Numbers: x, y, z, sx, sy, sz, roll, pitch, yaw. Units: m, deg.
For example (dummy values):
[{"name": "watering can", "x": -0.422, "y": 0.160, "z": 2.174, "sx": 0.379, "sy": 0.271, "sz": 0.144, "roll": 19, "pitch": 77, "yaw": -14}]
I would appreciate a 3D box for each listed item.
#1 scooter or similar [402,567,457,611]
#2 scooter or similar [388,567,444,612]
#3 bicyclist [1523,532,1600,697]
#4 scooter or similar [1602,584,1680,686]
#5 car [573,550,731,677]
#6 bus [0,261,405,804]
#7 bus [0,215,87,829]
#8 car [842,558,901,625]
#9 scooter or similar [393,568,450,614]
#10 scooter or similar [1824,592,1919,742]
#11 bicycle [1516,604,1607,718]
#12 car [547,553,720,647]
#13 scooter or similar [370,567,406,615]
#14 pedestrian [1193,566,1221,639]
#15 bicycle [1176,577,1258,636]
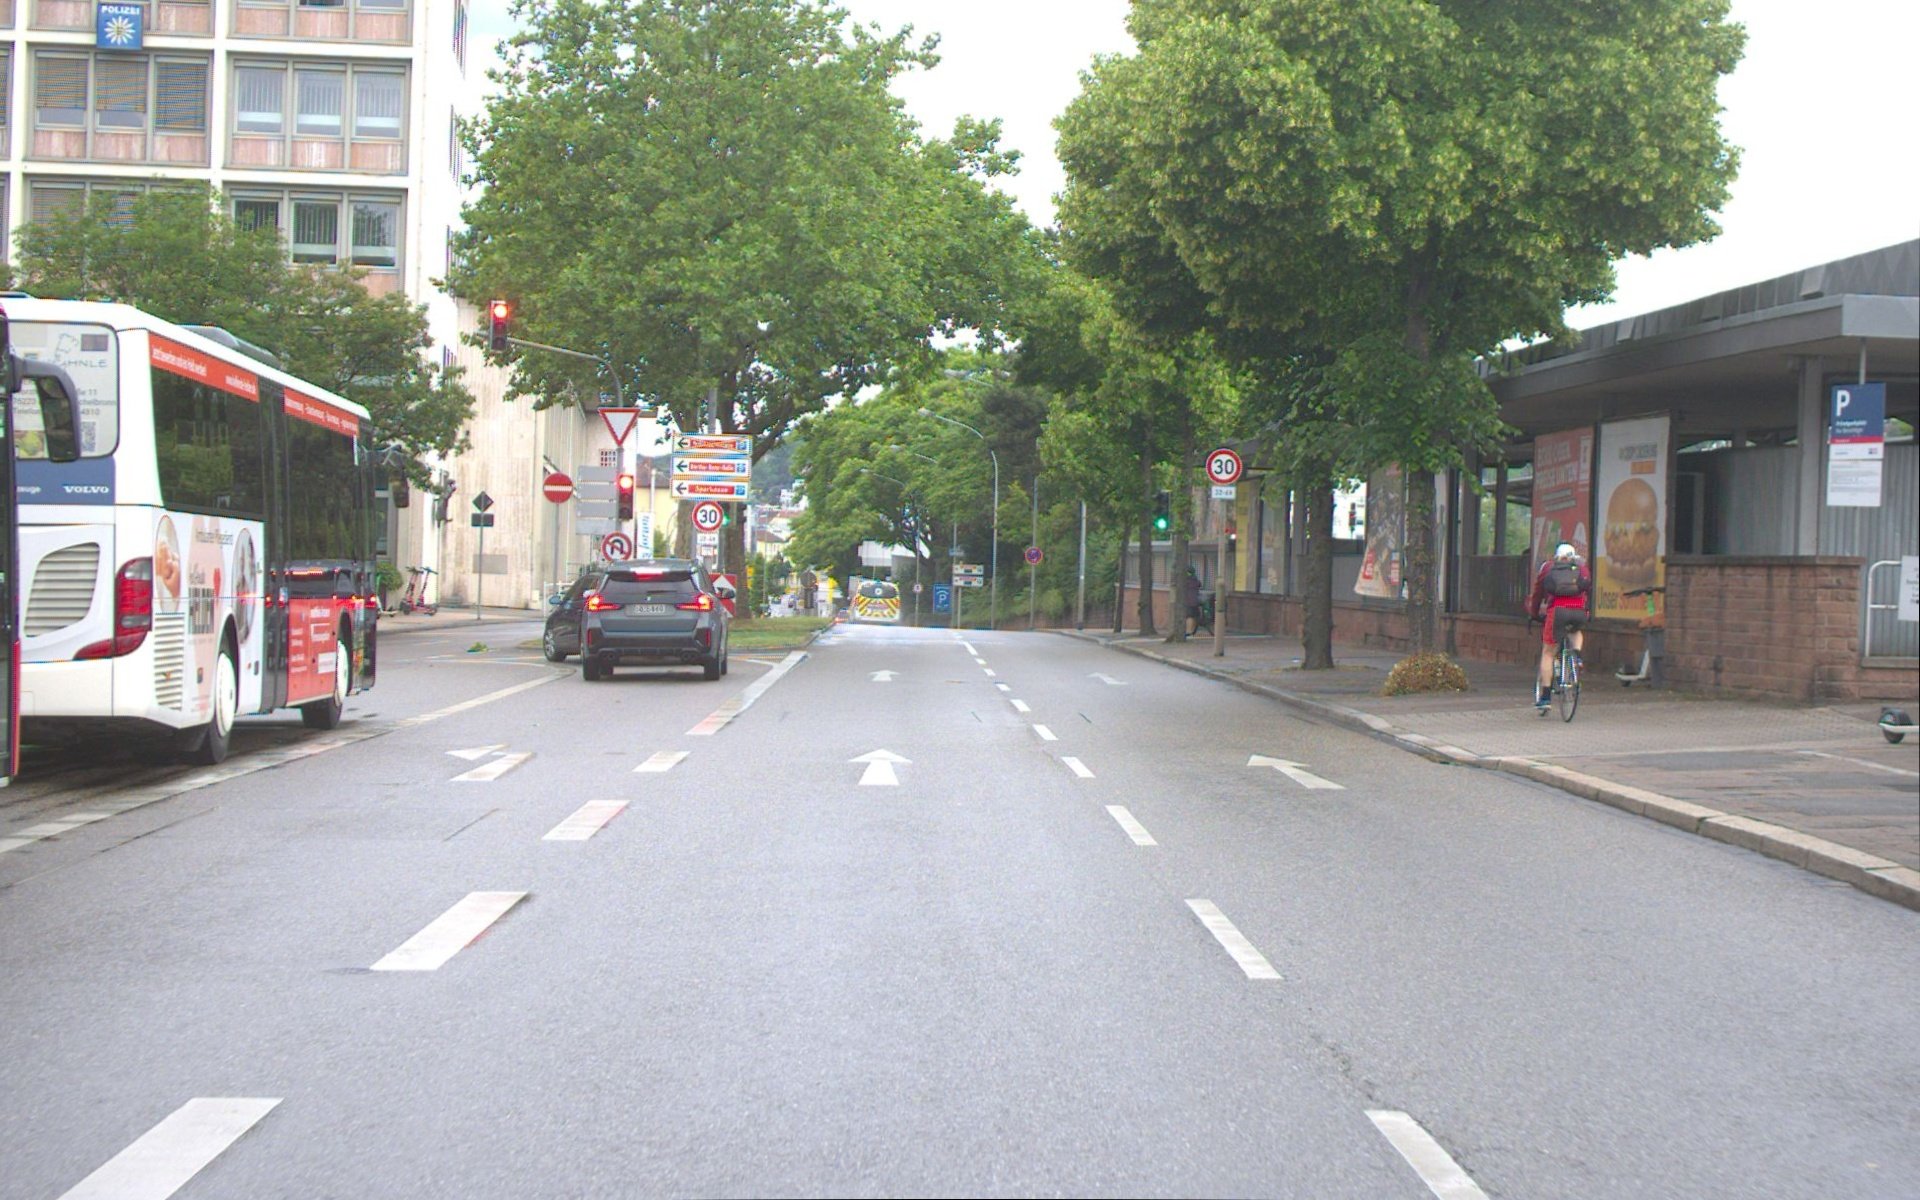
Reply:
[{"name": "scooter or similar", "x": -14.332, "y": -0.296, "z": 92.962, "sx": 0.608, "sy": 1.160, "sz": 1.525, "roll": 1, "pitch": 0, "yaw": 32}, {"name": "scooter or similar", "x": -14.474, "y": -0.279, "z": 91.480, "sx": 0.608, "sy": 1.188, "sz": 1.525, "roll": 1, "pitch": 0, "yaw": 32}, {"name": "bicyclist", "x": 5.664, "y": 0.133, "z": 32.386, "sx": 0.533, "sy": 1.533, "sz": 0.694, "roll": -1, "pitch": 0, "yaw": -4}, {"name": "scooter or similar", "x": 7.869, "y": 0.390, "z": 39.766, "sx": 0.492, "sy": 1.149, "sz": 1.545, "roll": 1, "pitch": 0, "yaw": -4}, {"name": "car", "x": -4.137, "y": 0.162, "z": 46.716, "sx": 1.964, "sy": 1.634, "sz": 4.359, "roll": 0, "pitch": 0, "yaw": -3}, {"name": "bus", "x": -6.749, "y": -0.509, "z": 28.011, "sx": 2.955, "sy": 3.428, "sz": 12.561, "roll": 1, "pitch": 1, "yaw": -3}, {"name": "bus", "x": -6.218, "y": -0.363, "z": 14.875, "sx": 2.752, "sy": 3.122, "sz": 8.843, "roll": 0, "pitch": 1, "yaw": -1}, {"name": "car", "x": -3.596, "y": -0.369, "z": 139.521, "sx": 2.264, "sy": 2.647, "sz": 4.001, "roll": 0, "pitch": 1, "yaw": -3}, {"name": "scooter or similar", "x": -14.139, "y": -0.243, "z": 90.326, "sx": 0.608, "sy": 1.188, "sz": 1.525, "roll": 1, "pitch": 0, "yaw": 32}, {"name": "scooter or similar", "x": 7.484, "y": 0.516, "z": 26.882, "sx": 0.492, "sy": 1.149, "sz": 1.716, "roll": 1, "pitch": 0, "yaw": -21}, {"name": "bicycle", "x": 5.667, "y": 0.562, "z": 32.455, "sx": 0.446, "sy": 1.013, "sz": 1.678, "roll": -2, "pitch": 0, "yaw": -4}, {"name": "car", "x": -5.162, "y": -0.014, "z": 53.911, "sx": 1.815, "sy": 1.404, "sz": 4.415, "roll": 0, "pitch": 0, "yaw": -17}, {"name": "scooter or similar", "x": -14.366, "y": -0.234, "z": 86.385, "sx": 0.570, "sy": 1.188, "sz": 1.574, "roll": 1, "pitch": 0, "yaw": 2}, {"name": "pedestrian", "x": 5.279, "y": 0.053, "z": 73.406, "sx": 0.457, "sy": 1.563, "sz": 0.392, "roll": 1, "pitch": 1, "yaw": 31}, {"name": "bicycle", "x": 5.507, "y": 0.128, "z": 73.770, "sx": 1.723, "sy": 1.244, "sz": 0.485, "roll": 1, "pitch": 1, "yaw": 30}]
